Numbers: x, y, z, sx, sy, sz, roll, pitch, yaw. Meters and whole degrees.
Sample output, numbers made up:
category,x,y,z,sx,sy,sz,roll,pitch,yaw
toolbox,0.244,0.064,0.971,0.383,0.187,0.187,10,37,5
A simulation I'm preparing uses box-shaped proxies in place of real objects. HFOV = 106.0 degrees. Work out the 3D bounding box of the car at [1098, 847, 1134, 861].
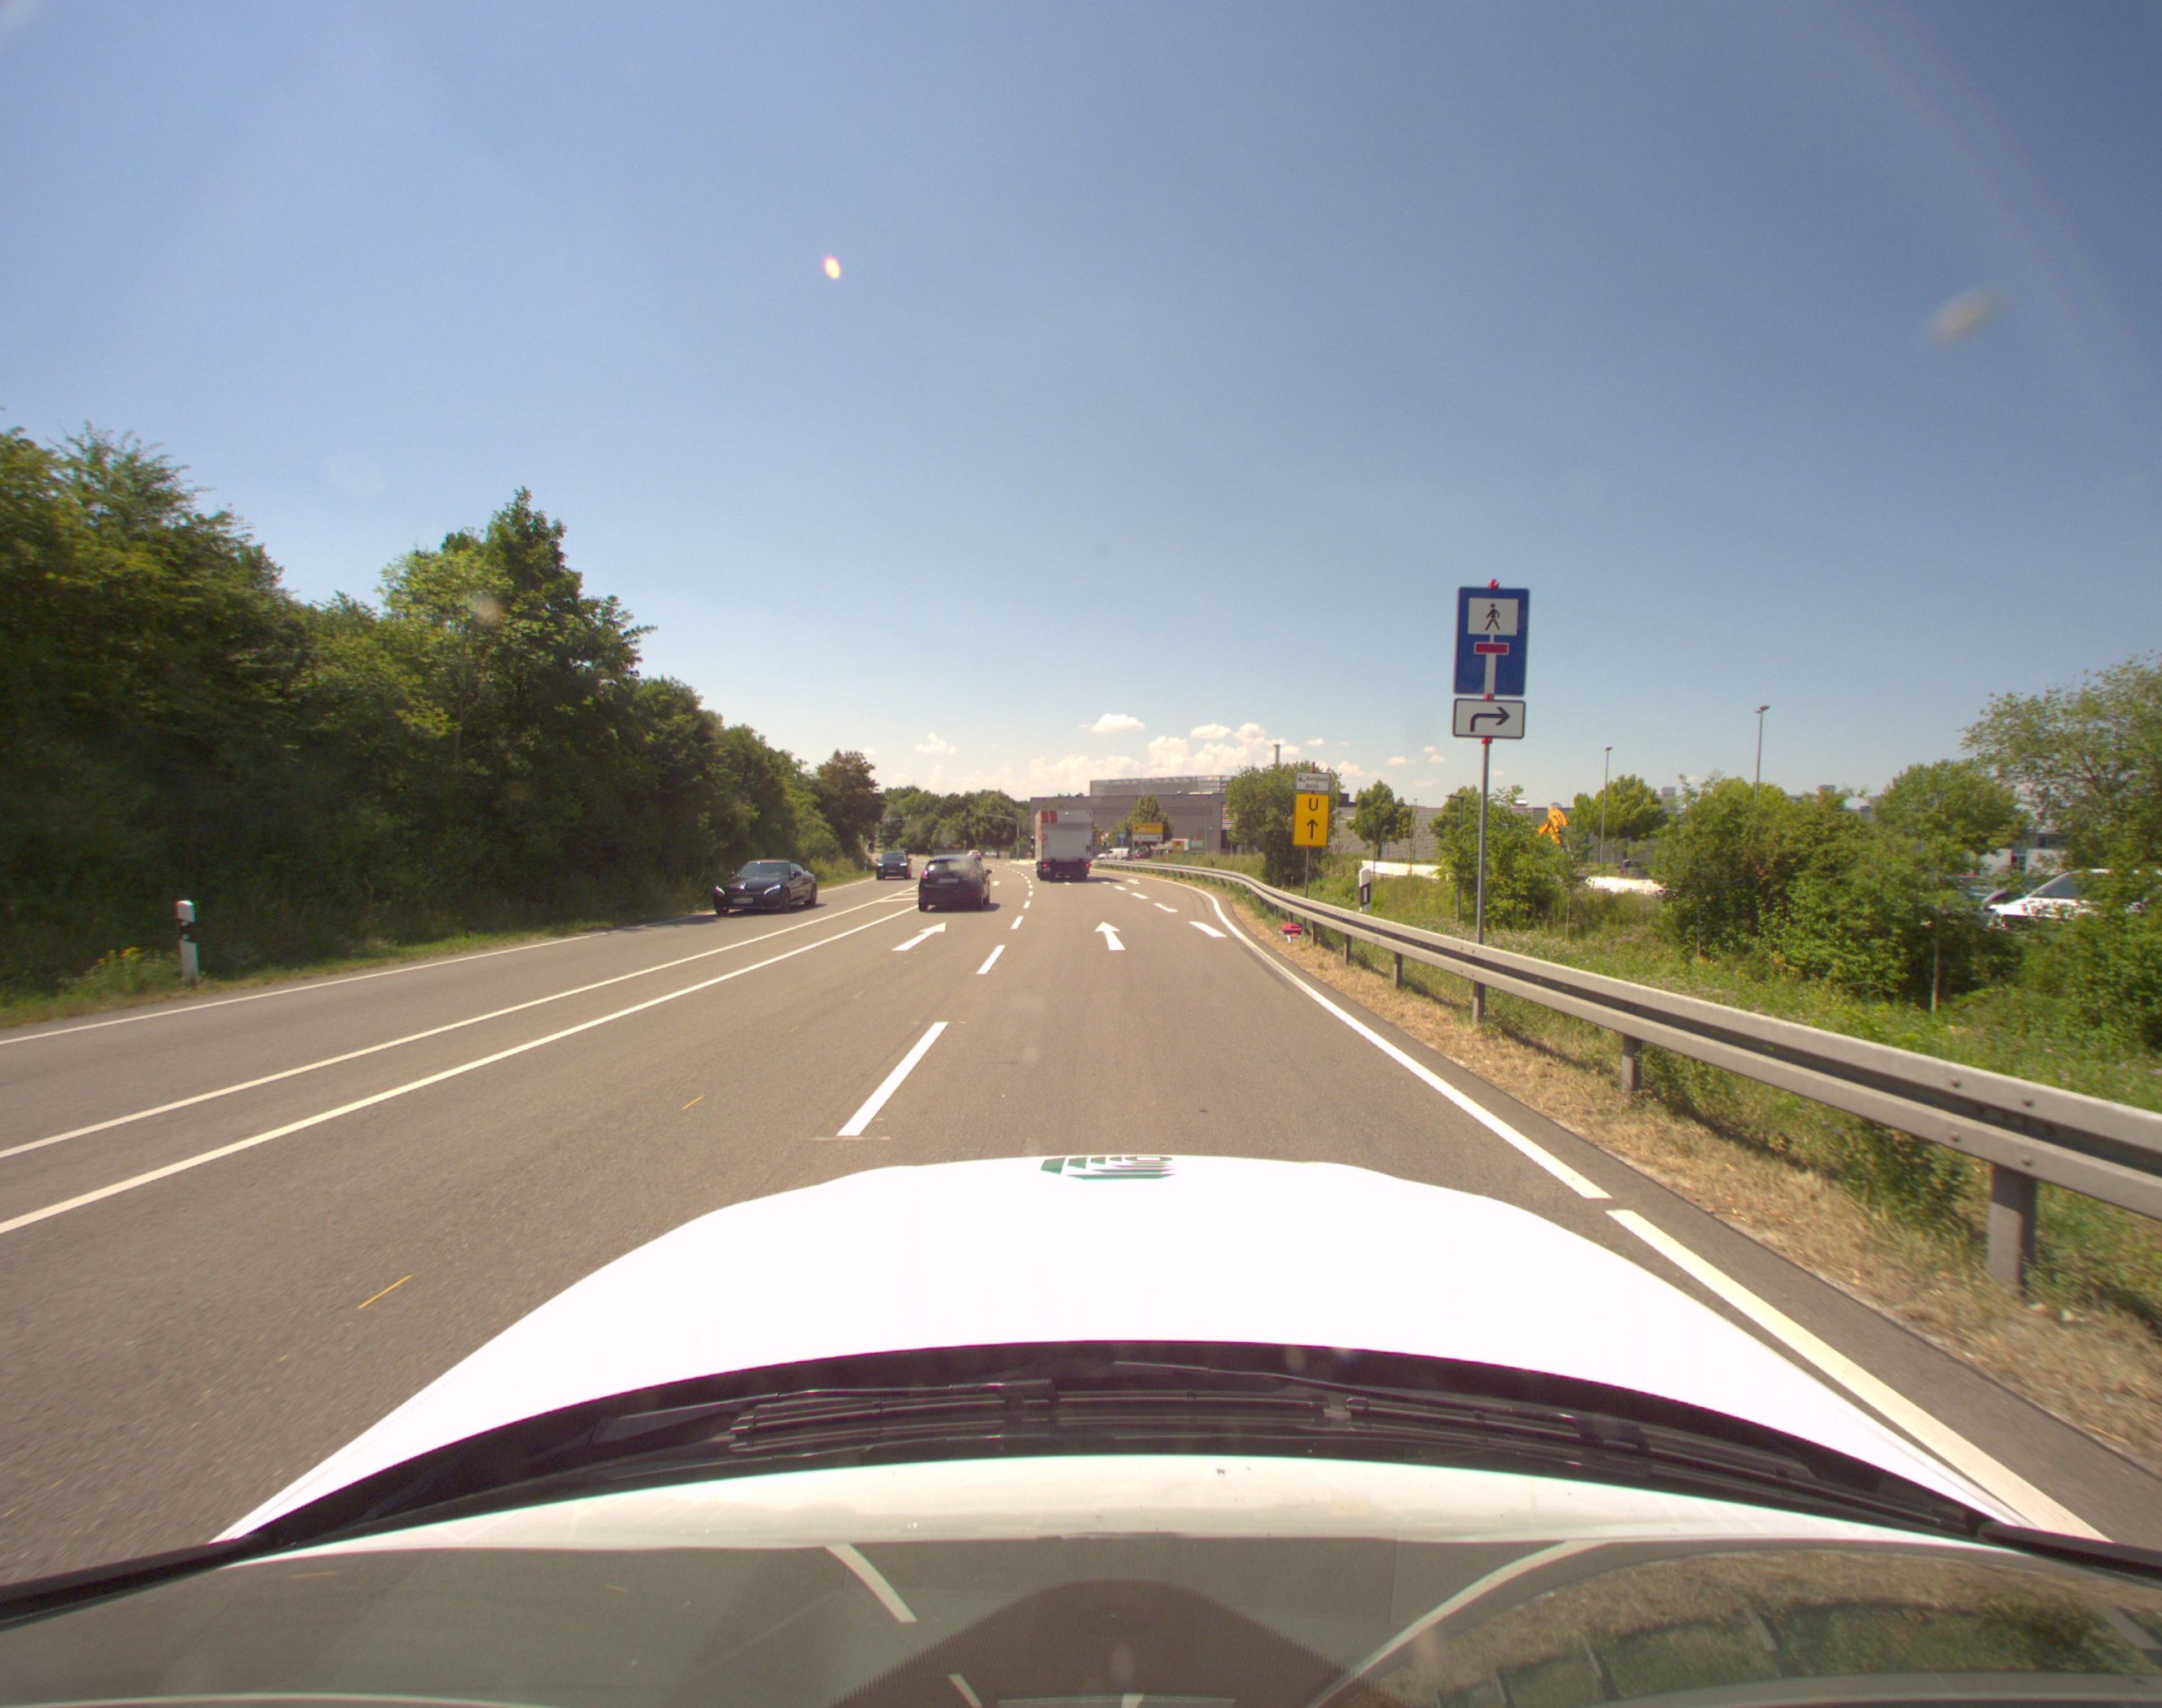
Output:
category,x,y,z,sx,sy,sz,roll,pitch,yaw
car,4.958,0.039,114.191,4.711,1.932,2.162,0,0,14

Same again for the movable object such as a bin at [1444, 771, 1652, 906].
category,x,y,z,sx,sy,sz,roll,pitch,yaw
movable object such as a bin,20.462,-0.816,36.670,3.417,5.259,9.218,1,3,-4

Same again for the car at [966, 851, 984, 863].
category,x,y,z,sx,sy,sz,roll,pitch,yaw
car,-15.156,0.424,116.163,1.947,1.664,3.980,3,0,-15

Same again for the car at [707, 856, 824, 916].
category,x,y,z,sx,sy,sz,roll,pitch,yaw
car,-8.684,0.808,22.861,1.814,1.442,4.635,-1,0,-5

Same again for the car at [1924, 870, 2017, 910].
category,x,y,z,sx,sy,sz,roll,pitch,yaw
car,41.029,1.612,37.709,1.989,1.637,4.618,0,0,35

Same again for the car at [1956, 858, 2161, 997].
category,x,y,z,sx,sy,sz,roll,pitch,yaw
car,19.943,1.322,15.198,5.210,2.257,2.132,1,3,-6

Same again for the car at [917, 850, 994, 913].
category,x,y,z,sx,sy,sz,roll,pitch,yaw
car,-3.412,0.679,22.742,1.649,1.493,4.204,0,2,-2

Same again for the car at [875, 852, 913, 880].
category,x,y,z,sx,sy,sz,roll,pitch,yaw
car,-11.157,0.667,48.739,1.994,1.593,4.665,-1,0,-11

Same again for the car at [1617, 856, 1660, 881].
category,x,y,z,sx,sy,sz,roll,pitch,yaw
car,43.300,1.110,63.357,2.076,1.816,5.376,1,0,28

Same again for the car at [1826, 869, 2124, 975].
category,x,y,z,sx,sy,sz,roll,pitch,yaw
car,19.487,1.433,17.924,4.280,1.968,2.001,2,3,0

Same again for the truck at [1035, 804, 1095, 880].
category,x,y,z,sx,sy,sz,roll,pitch,yaw
truck,-1.024,-0.661,44.060,2.798,3.710,9.096,0,1,-4

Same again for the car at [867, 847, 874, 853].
category,x,y,z,sx,sy,sz,roll,pitch,yaw
car,-61.416,-1.146,237.780,1.996,1.684,3.981,0,0,-14
